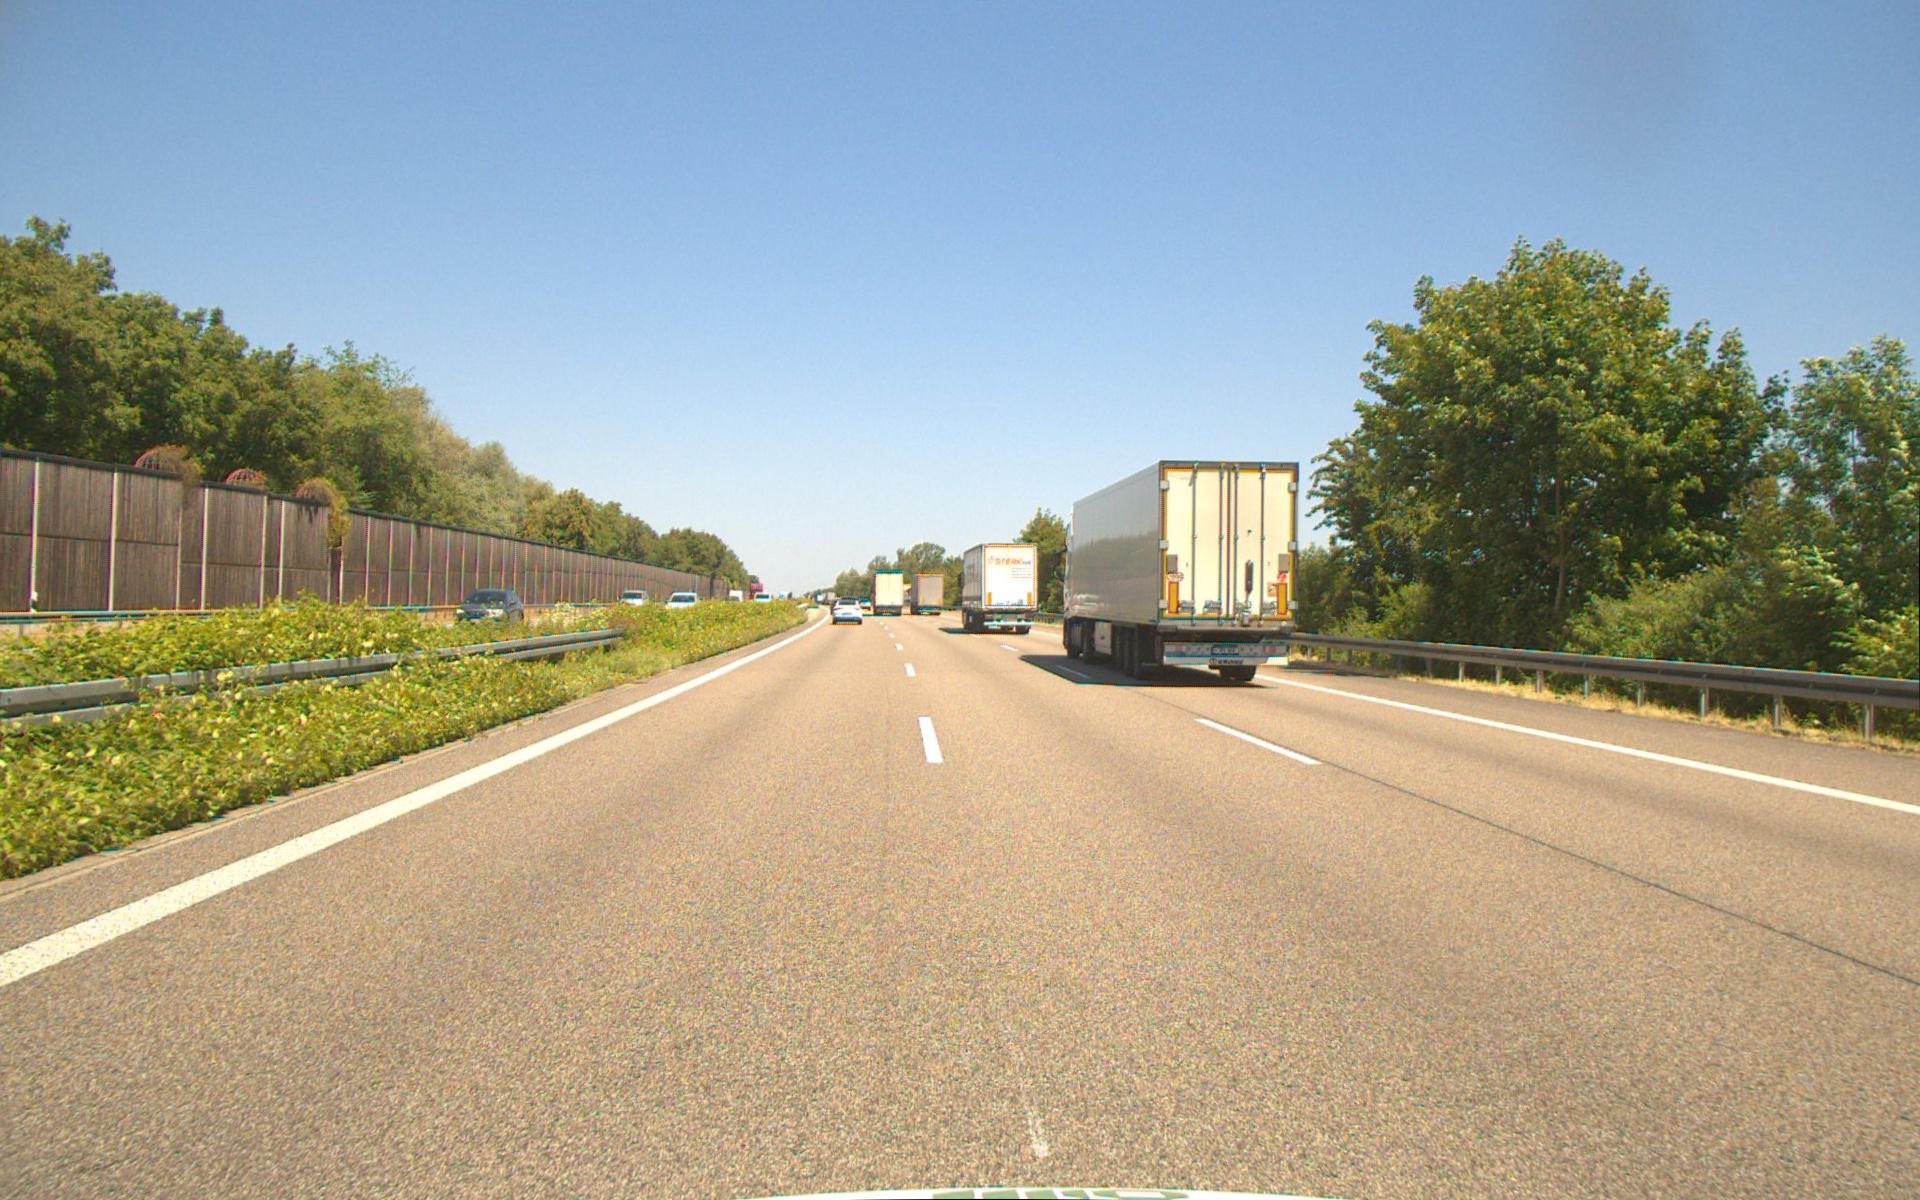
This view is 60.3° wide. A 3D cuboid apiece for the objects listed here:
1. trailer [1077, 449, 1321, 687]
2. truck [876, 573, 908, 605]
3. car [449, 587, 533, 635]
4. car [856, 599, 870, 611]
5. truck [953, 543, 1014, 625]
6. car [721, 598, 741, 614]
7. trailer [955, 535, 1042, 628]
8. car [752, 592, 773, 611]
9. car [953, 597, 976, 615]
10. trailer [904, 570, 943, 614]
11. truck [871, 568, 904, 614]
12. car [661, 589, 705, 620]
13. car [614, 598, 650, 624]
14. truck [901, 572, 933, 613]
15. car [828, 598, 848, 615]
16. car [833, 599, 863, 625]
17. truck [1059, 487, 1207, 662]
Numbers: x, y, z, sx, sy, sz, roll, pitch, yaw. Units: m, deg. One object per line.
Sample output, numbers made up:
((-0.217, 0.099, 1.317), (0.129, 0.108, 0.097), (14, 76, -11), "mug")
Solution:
((4.672, -0.558, 35.465), (2.900, 4.178, 12.526), (1, 0, -2), "trailer")
((-10.114, -1.570, 246.103), (3.312, 4.378, 11.427), (4, -1, -8), "truck")
((-17.101, 0.374, 60.522), (1.954, 1.676, 4.690), (1, 0, -3), "car")
((-12.971, 0.654, 221.033), (1.818, 1.645, 3.998), (1, 0, -3), "car")
((1.190, -0.791, 88.034), (2.654, 4.160, 6.958), (1, 0, -4), "truck")
((-26.005, 0.675, 187.946), (1.954, 1.672, 5.581), (1, 0, -4), "car")
((1.727, -0.824, 81.712), (2.654, 4.160, 14.135), (1, 0, -5), "trailer")
((-21.789, 0.112, 182.701), (1.954, 2.049, 5.341), (1, 0, -4), "car")
((0.411, 0.539, 153.454), (1.819, 1.645, 3.996), (1, 0, -5), "car")
((-3.897, -0.788, 172.416), (2.652, 4.289, 13.191), (2, 0, -7), "trailer")
((-7.098, -0.794, 159.925), (2.654, 4.157, 13.461), (2, 0, -4), "truck")
((-15.682, 0.254, 93.755), (1.954, 1.676, 5.041), (1, 0, -4), "car")
((-26.046, 0.849, 131.481), (1.954, 2.049, 5.382), (1, 0, -3), "car")
((-4.636, -0.748, 178.533), (2.640, 4.289, 7.826), (2, -1, -7), "truck")
((-11.927, 0.628, 161.344), (1.818, 1.645, 3.998), (1, 0, -3), "car")
((-6.812, 0.719, 100.586), (1.818, 1.512, 3.997), (1, 0, -4), "car")
((4.353, -0.605, 42.844), (2.900, 4.178, 6.203), (1, 0, -3), "truck")
